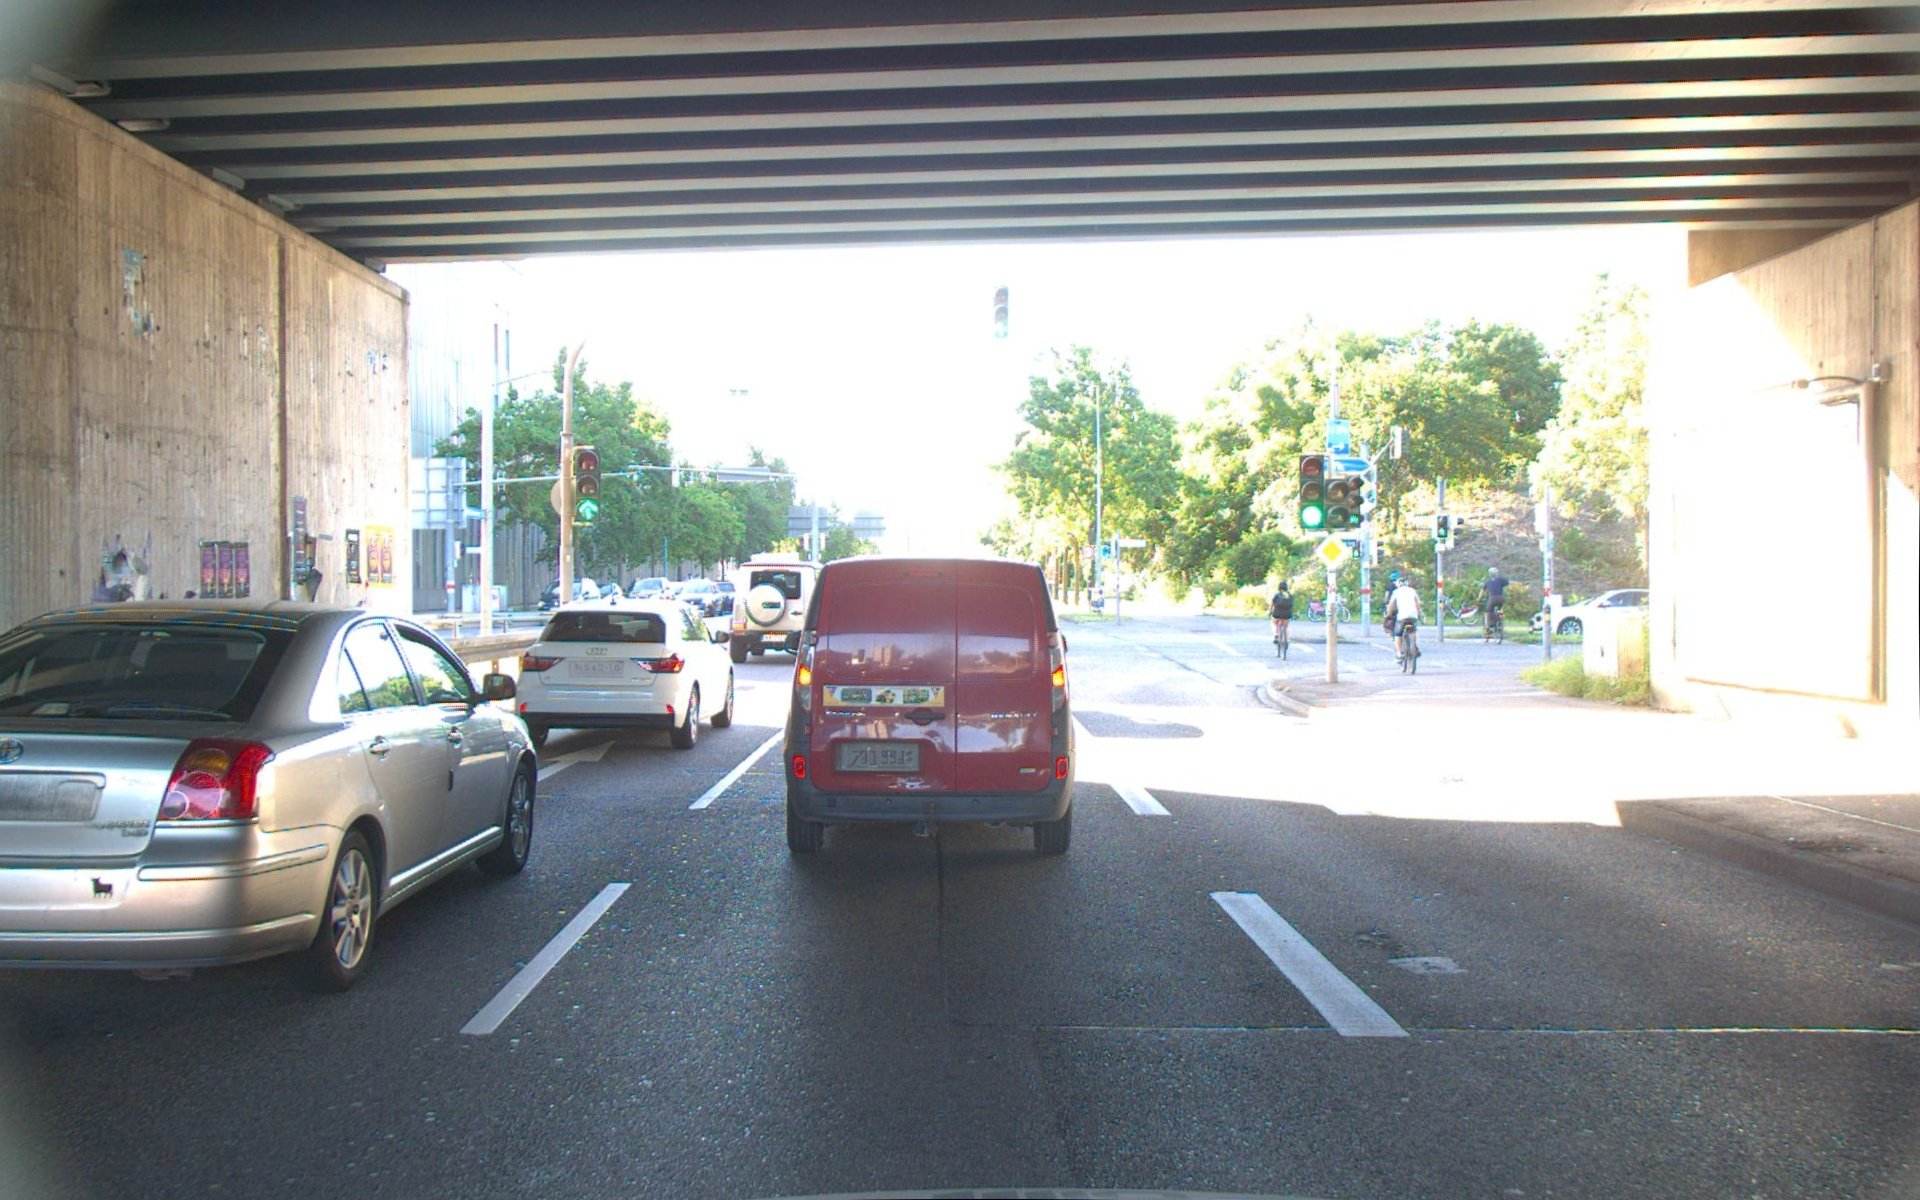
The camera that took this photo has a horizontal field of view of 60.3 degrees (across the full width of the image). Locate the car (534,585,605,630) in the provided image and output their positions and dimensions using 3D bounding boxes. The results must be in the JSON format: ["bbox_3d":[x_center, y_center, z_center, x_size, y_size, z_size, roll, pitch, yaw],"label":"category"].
[{"bbox_3d":[-16.218,0.289,68.981,1.787,1.768,4.629,-2,0,0],"label":"car"}]

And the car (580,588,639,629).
[{"bbox_3d":[-16.275,0.357,76.971,1.788,1.768,4.528,-2,0,-1],"label":"car"}]

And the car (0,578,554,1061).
[{"bbox_3d":[-3.097,0.698,7.322,1.698,1.506,4.316,0,0,-2],"label":"car"}]

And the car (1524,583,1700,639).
[{"bbox_3d":[18.924,0.335,48.171,4.451,1.540,1.829,1,-1,6],"label":"car"}]

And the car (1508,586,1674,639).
[{"bbox_3d":[19.313,0.380,50.775,4.451,1.540,1.829,1,-1,6],"label":"car"}]

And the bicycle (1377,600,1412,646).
[{"bbox_3d":[10.241,0.554,39.060,0.657,1.041,2.057,1,-1,11],"label":"bicycle"}]

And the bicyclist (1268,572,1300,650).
[{"bbox_3d":[6.904,0.241,35.293,0.579,1.642,0.943,1,-1,6],"label":"bicyclist"}]

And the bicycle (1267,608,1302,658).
[{"bbox_3d":[6.913,0.699,35.290,0.579,1.041,1.751,1,-1,6],"label":"bicycle"}]

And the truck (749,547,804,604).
[{"bbox_3d":[-10.559,-1.393,95.694,2.360,3.079,6.656,-2,0,0],"label":"truck"}]

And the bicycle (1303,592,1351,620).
[{"bbox_3d":[13.743,0.227,61.962,1.707,1.041,0.594,1,-1,8],"label":"bicycle"}]

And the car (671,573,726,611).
[{"bbox_3d":[-10.920,-0.335,69.227,1.602,1.468,4.076,-2,0,0],"label":"car"}]

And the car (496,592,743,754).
[{"bbox_3d":[-3.387,0.662,17.121,1.776,1.463,3.731,1,0,0],"label":"car"}]

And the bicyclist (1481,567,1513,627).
[{"bbox_3d":[13.635,-0.070,42.002,0.635,1.506,0.618,0,0,4],"label":"bicyclist"}]

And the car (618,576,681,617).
[{"bbox_3d":[-13.425,-0.143,71.755,1.787,1.653,4.529,-2,0,0],"label":"car"}]

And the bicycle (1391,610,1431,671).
[{"bbox_3d":[8.084,0.720,29.689,0.579,1.041,1.752,1,-1,11],"label":"bicycle"}]

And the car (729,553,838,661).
[{"bbox_3d":[-3.501,0.164,33.579,1.764,2.023,4.587,1,-1,-1],"label":"car"}]

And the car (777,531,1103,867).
[{"bbox_3d":[-0.143,0.574,11.105,1.768,1.826,3.999,1,-1,-1],"label":"car"}]

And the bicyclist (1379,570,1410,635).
[{"bbox_3d":[10.212,0.062,38.893,0.650,1.500,0.751,1,-1,11],"label":"bicyclist"}]

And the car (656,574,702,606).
[{"bbox_3d":[-13.544,-0.477,79.803,1.613,1.429,3.976,-2,0,-2],"label":"car"}]

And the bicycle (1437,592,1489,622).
[{"bbox_3d":[18.073,0.243,59.435,1.707,1.041,0.594,1,-1,10],"label":"bicycle"}]

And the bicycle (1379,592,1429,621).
[{"bbox_3d":[16.241,0.235,60.523,1.707,1.041,0.594,1,-1,8],"label":"bicycle"}]

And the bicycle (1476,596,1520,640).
[{"bbox_3d":[13.632,0.447,41.927,0.653,1.041,1.751,0,1,4],"label":"bicycle"}]

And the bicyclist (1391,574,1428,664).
[{"bbox_3d":[8.061,0.342,29.699,0.579,1.576,0.770,1,-1,11],"label":"bicyclist"}]
